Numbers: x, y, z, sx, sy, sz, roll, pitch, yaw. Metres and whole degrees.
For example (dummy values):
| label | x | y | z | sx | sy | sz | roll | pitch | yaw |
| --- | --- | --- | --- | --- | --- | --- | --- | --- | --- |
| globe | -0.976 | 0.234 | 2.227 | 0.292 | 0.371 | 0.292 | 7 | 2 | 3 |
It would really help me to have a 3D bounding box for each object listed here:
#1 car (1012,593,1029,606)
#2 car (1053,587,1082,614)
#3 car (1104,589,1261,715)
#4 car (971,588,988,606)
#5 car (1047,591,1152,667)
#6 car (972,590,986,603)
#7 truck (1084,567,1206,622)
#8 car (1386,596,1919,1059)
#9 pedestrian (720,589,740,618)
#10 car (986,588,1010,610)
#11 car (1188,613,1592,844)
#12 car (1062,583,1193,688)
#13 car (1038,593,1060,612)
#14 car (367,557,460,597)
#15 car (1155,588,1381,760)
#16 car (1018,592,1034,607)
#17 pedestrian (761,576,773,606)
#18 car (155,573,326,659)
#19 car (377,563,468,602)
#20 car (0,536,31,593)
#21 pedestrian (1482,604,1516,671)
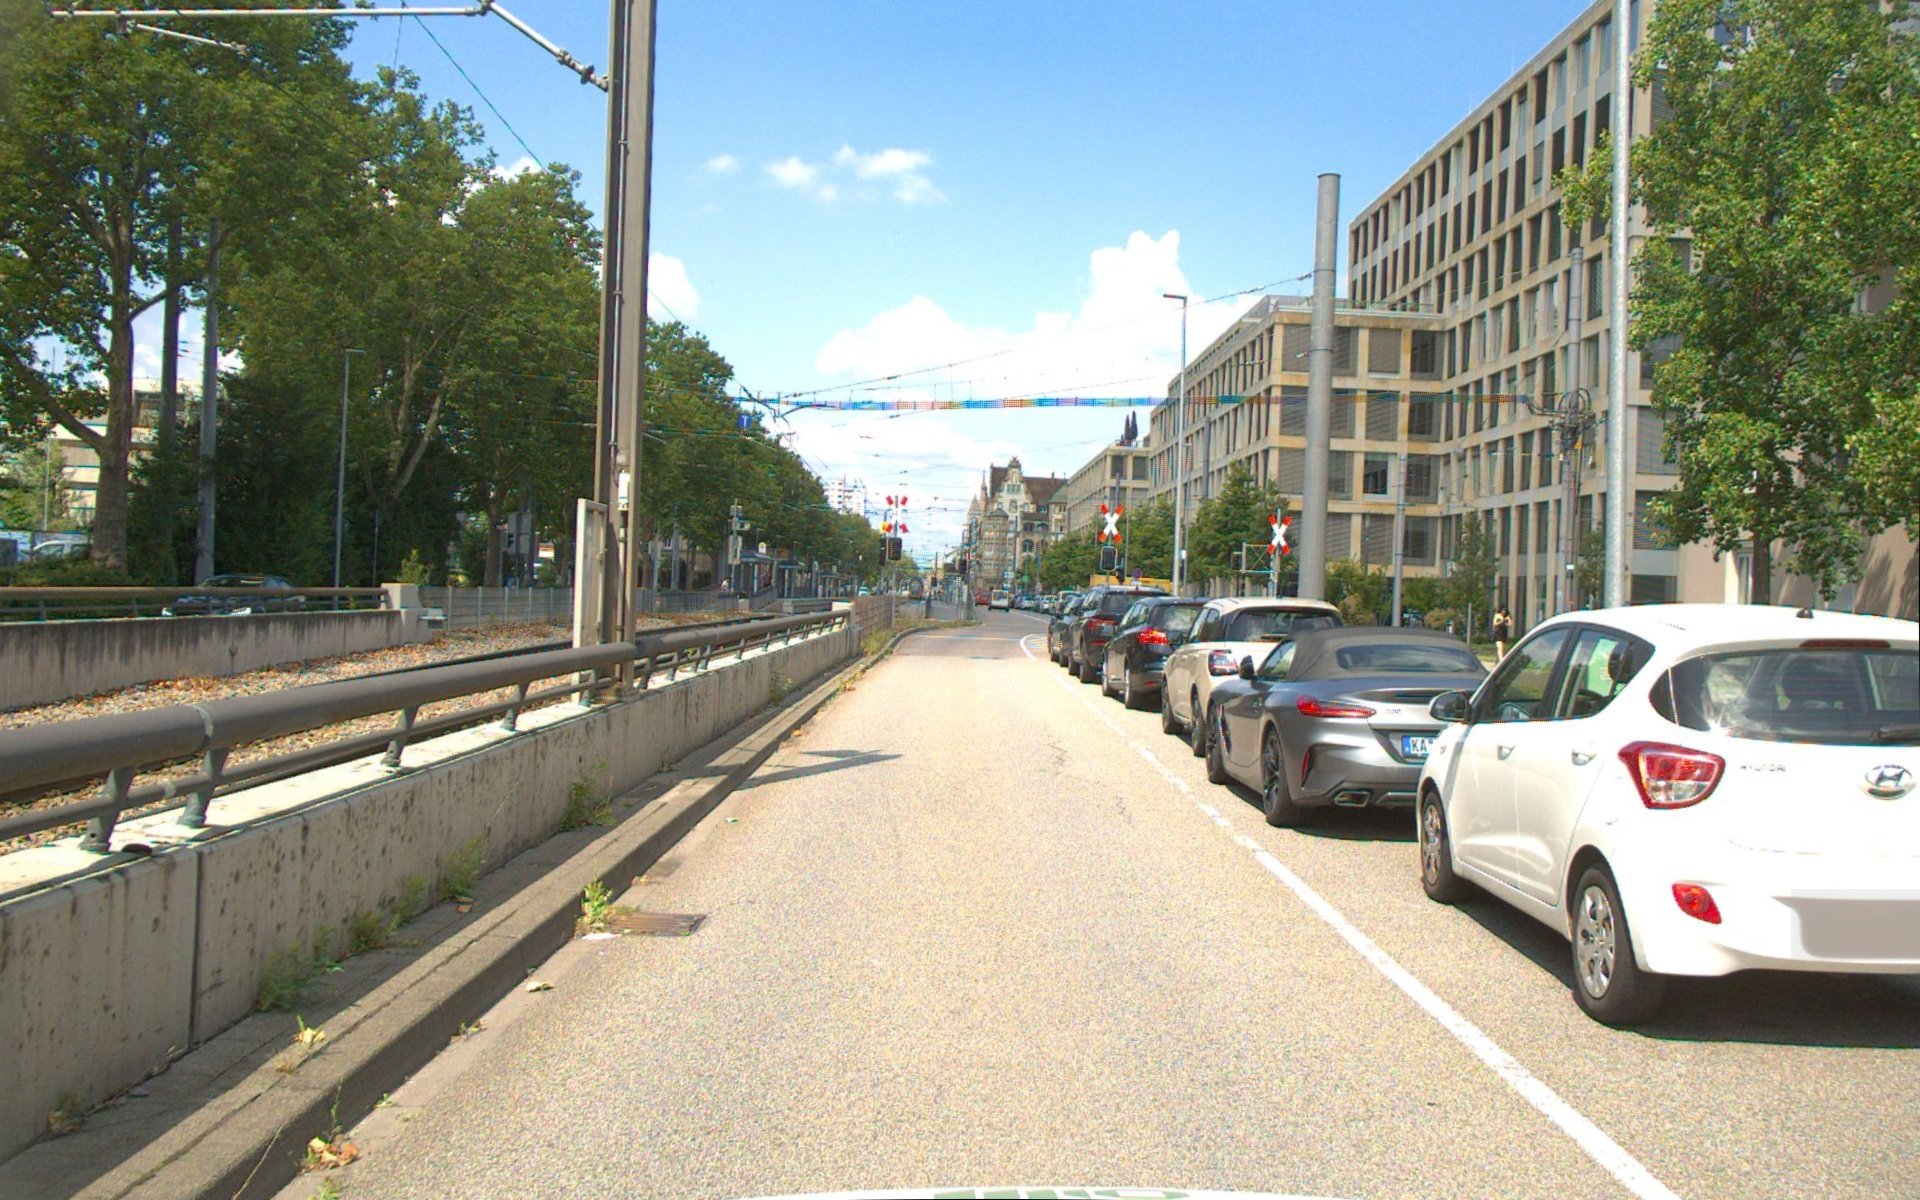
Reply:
| label | x | y | z | sx | sy | sz | roll | pitch | yaw |
| --- | --- | --- | --- | --- | --- | --- | --- | --- | --- |
| car | 7.036 | -0.066 | 192.339 | 1.560 | 1.459 | 4.105 | 4 | 0 | -3 |
| car | 8.246 | 0.024 | 127.440 | 1.843 | 1.973 | 4.842 | 1 | 0 | -1 |
| car | 2.971 | 0.637 | 22.891 | 1.610 | 1.557 | 4.442 | 1 | 0 | 1 |
| car | 2.257 | -0.316 | 194.680 | 1.953 | 2.049 | 3.999 | 0 | 0 | -1 |
| car | 2.950 | 0.578 | 35.926 | 1.779 | 1.479 | 4.990 | 1 | 1 | -1 |
| car | 2.239 | -0.439 | 194.566 | 1.414 | 1.496 | 4.090 | 0 | 0 | -3 |
| truck | 10.717 | -0.320 | 96.179 | 6.670 | 2.917 | 2.453 | 2 | 0 | -3 |
| car | 3.195 | 0.747 | 7.317 | 1.672 | 1.505 | 3.790 | 1 | 0 | 1 |
| pedestrian | -10.744 | 0.155 | 77.316 | 0.845 | 1.367 | 0.922 | 0 | 0 | -4 |
| car | 3.262 | -0.131 | 143.602 | 1.831 | 1.777 | 3.999 | 3 | 0 | -2 |
| car | 2.948 | 0.805 | 12.364 | 1.787 | 1.334 | 4.442 | 1 | 0 | -1 |
| car | 2.883 | 0.551 | 29.385 | 1.779 | 1.691 | 4.670 | 1 | 1 | -1 |
| car | 7.962 | 0.188 | 148.202 | 1.651 | 1.634 | 4.151 | 1 | 0 | -1 |
| car | -26.274 | -1.095 | 79.598 | 3.908 | 1.780 | 1.802 | 1 | 0 | -4 |
| car | 3.017 | 0.660 | 16.883 | 1.635 | 1.541 | 3.851 | 1 | 0 | 1 |
| car | 7.224 | -0.091 | 181.229 | 1.559 | 1.485 | 3.613 | 3 | 0 | 0 |
| pedestrian | -12.036 | -0.579 | 103.057 | 0.692 | 1.877 | 0.864 | 0 | 0 | -2 |
| car | -14.557 | 0.282 | 33.714 | 1.633 | 1.624 | 4.297 | 1 | 1 | -1 |
| car | -26.534 | -0.873 | 81.788 | 3.908 | 1.780 | 1.802 | 1 | 0 | -4 |
| car | -26.676 | -0.987 | 42.967 | 3.905 | 1.467 | 2.000 | 2 | 0 | -1 |
| pedestrian | 13.440 | 0.930 | 41.244 | 0.610 | 1.636 | 0.624 | 0 | 0 | -4 |
